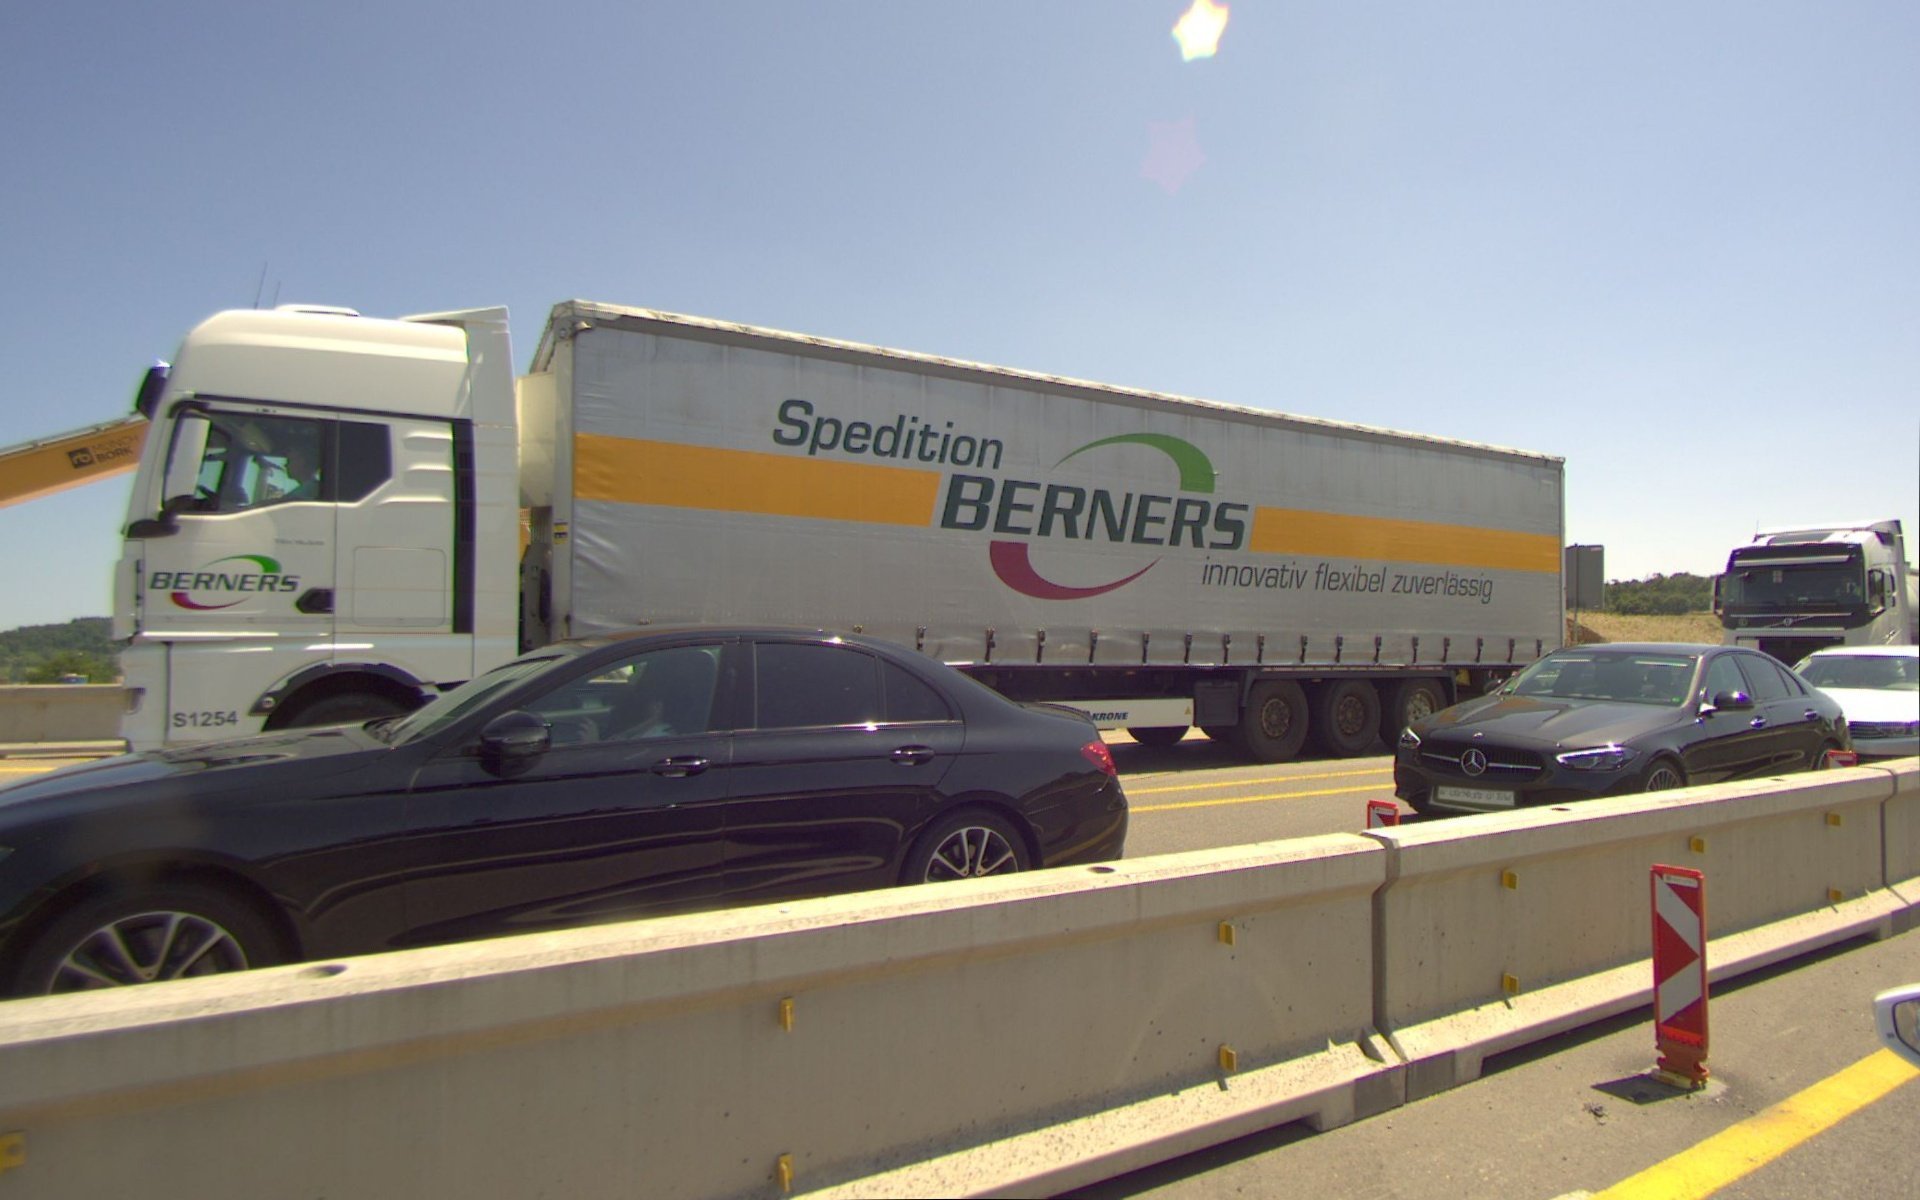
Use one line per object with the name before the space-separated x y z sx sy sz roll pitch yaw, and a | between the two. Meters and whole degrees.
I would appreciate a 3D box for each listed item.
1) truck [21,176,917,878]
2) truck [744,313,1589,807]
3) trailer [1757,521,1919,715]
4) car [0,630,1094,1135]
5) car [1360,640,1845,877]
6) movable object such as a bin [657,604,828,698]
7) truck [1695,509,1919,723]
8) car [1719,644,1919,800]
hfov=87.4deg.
truck | -3.723 -0.373 8.901 6.125 4.315 2.759 1 -2 -30
truck | 3.303 -0.230 12.877 11.636 4.333 2.762 1 -2 -29
trailer | 23.540 0.530 25.351 11.141 4.030 2.685 1 -3 -38
car | -1.547 0.855 4.511 4.080 1.426 1.718 1 -2 -29
car | 5.291 1.066 8.127 4.200 1.472 1.647 1 -2 -32
movable object such as a bin | -7.829 1.805 36.075 4.943 3.065 3.641 -1 -3 -36
truck | 18.703 0.404 21.724 6.138 4.021 2.682 1 -3 -36
car | 10.571 1.238 11.452 4.505 1.463 1.668 2 -2 -34
